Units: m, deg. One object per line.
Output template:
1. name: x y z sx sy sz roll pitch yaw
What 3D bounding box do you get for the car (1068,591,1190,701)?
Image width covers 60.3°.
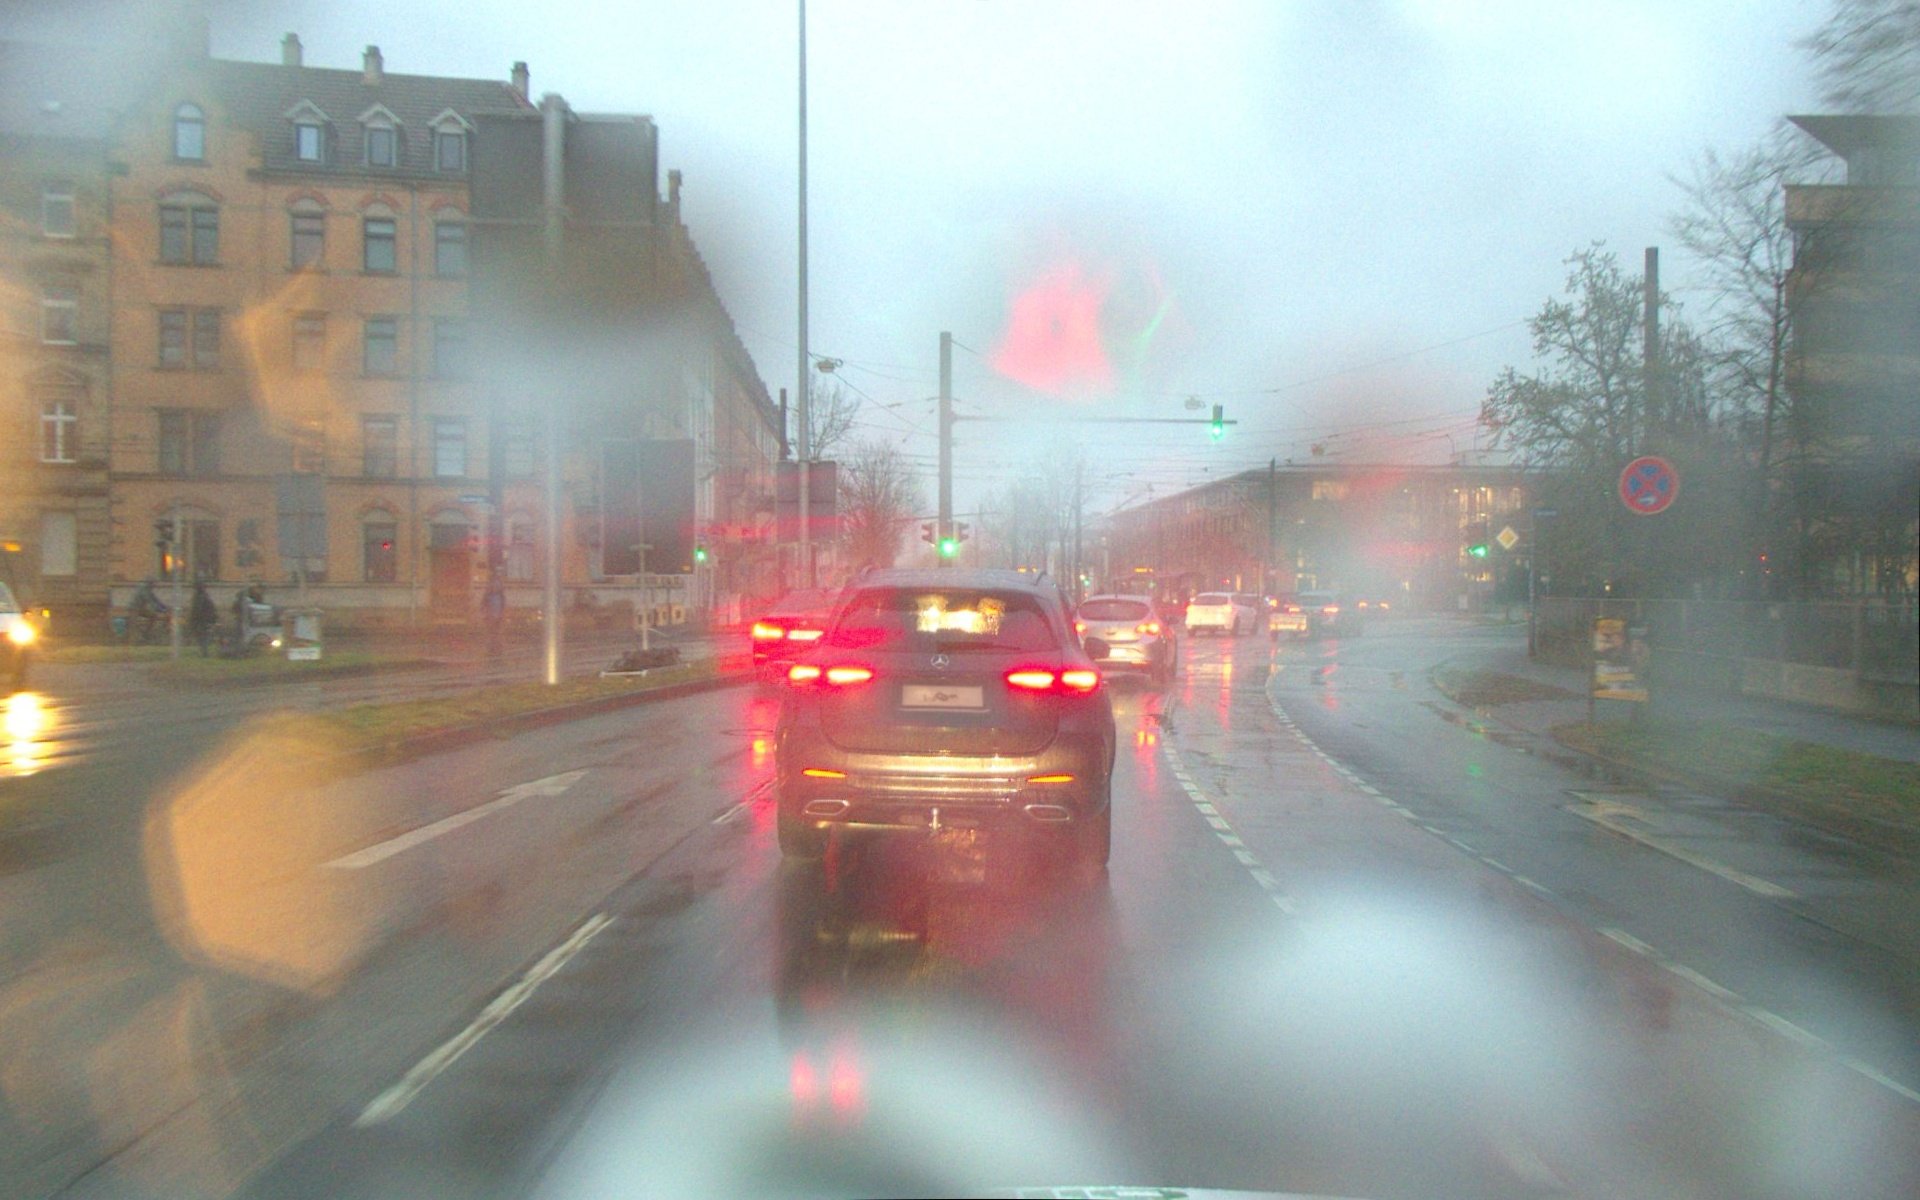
1. car: 3.059 0.744 29.255 1.951 1.796 4.003 0 0 8

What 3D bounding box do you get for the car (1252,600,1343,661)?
1. car: 10.687 0.930 52.137 1.954 1.796 3.997 0 0 25

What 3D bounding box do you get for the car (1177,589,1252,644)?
1. car: 8.721 0.539 56.420 1.951 1.796 4.002 0 0 18

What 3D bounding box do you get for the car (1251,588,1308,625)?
1. car: 13.028 0.250 67.241 1.823 1.434 3.946 0 0 18

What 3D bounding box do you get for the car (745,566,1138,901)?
1. car: -0.174 0.644 10.225 1.951 1.644 3.998 0 0 -3

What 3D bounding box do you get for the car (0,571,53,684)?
1. car: -18.696 0.558 30.804 1.985 1.980 4.777 -2 0 -43

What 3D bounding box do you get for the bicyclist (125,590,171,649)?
1. bicyclist: -19.617 0.462 39.969 0.956 1.415 0.501 0 1 -32

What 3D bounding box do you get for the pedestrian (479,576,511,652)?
1. pedestrian: -11.090 0.331 39.486 0.457 1.803 0.629 0 0 18

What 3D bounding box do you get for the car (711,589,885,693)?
1. car: -2.341 0.555 24.948 1.951 1.422 4.002 0 0 4

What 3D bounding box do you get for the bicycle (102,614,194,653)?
1. bicycle: -19.624 0.803 39.969 1.959 0.915 0.501 0 1 -32

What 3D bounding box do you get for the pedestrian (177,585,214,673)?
1. pedestrian: -16.047 0.605 34.736 0.616 1.823 0.530 1 0 -16

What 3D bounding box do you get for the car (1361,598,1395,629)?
1. car: 23.057 0.712 91.236 1.708 1.640 4.004 0 0 13

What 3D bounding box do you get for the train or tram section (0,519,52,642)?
1. train or tram section: -33.174 -0.689 43.443 15.973 3.244 3.159 1 0 -13
